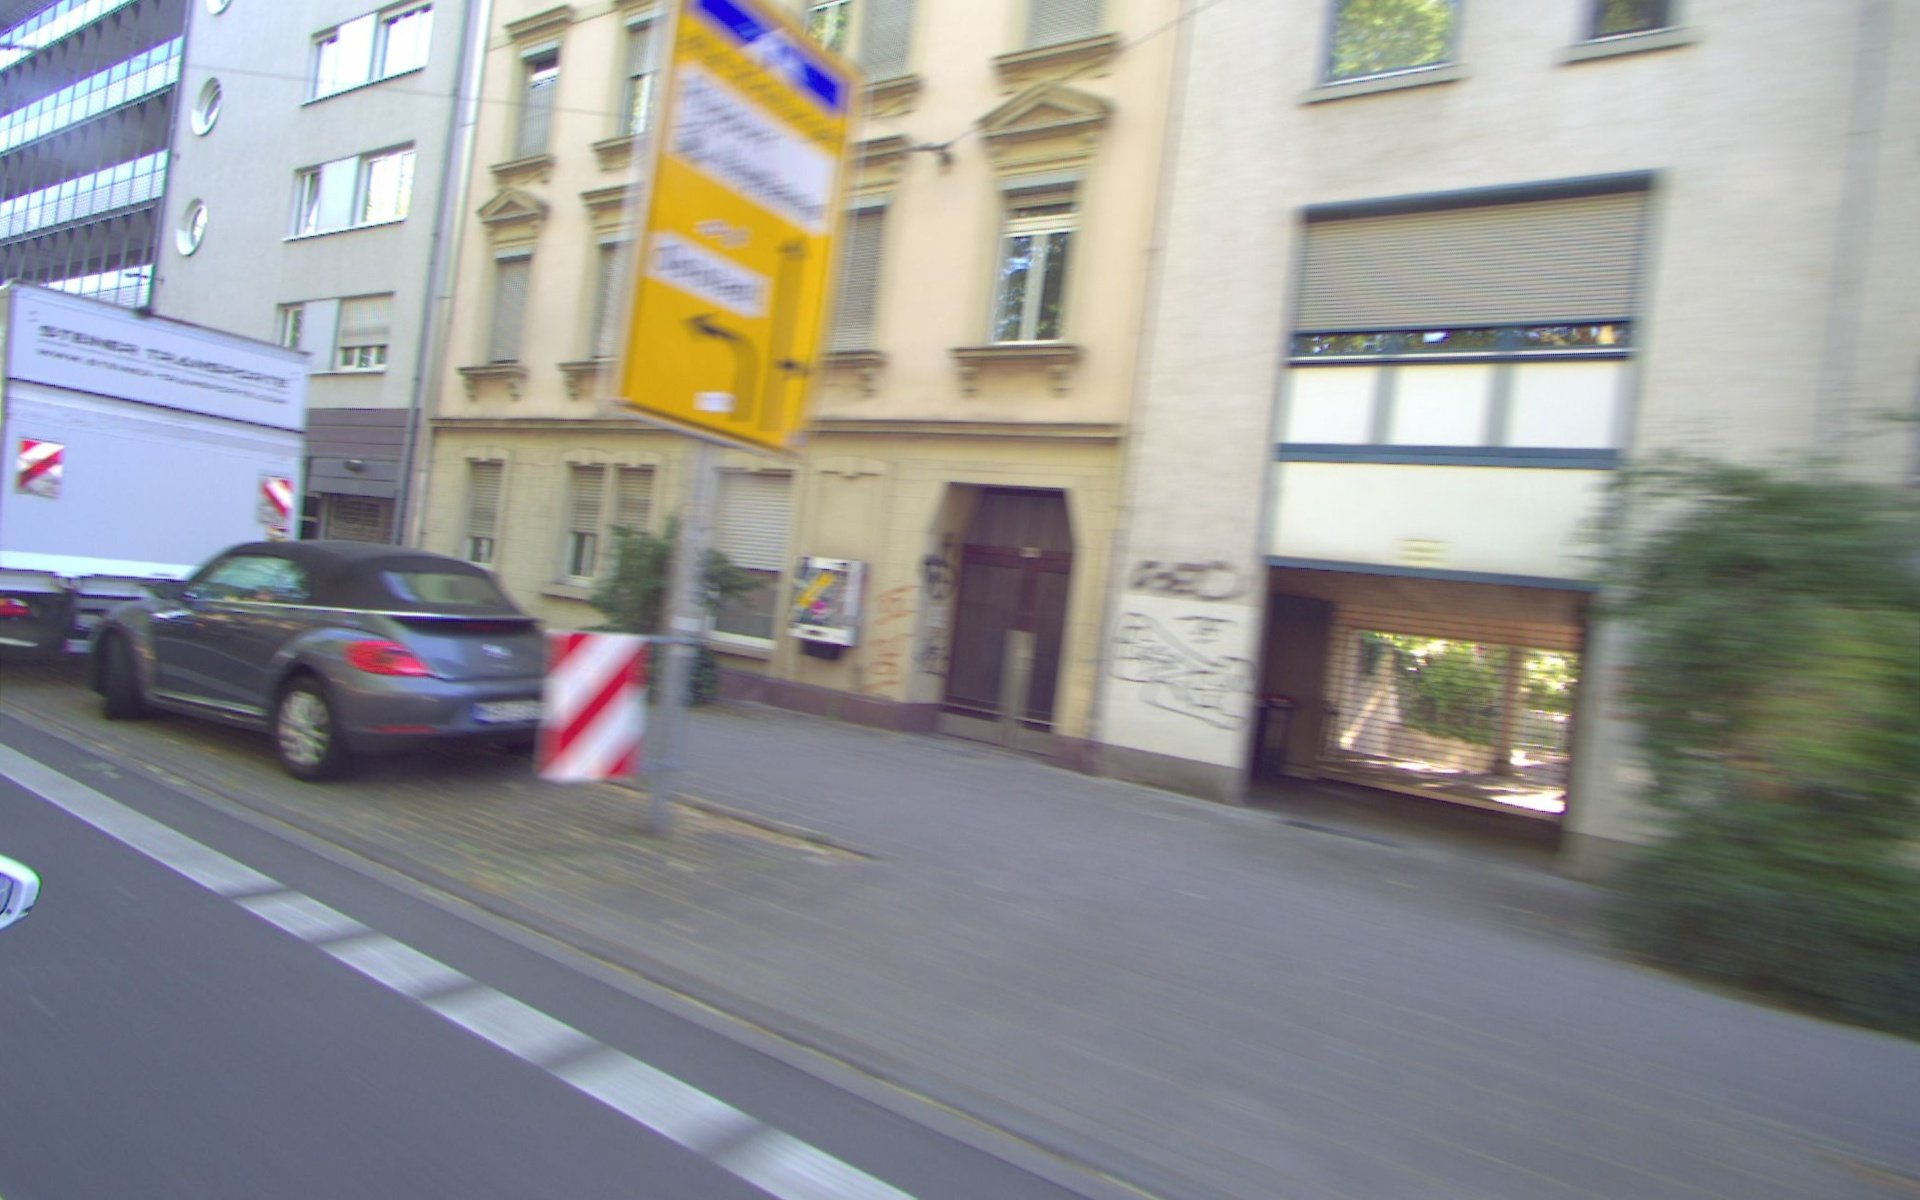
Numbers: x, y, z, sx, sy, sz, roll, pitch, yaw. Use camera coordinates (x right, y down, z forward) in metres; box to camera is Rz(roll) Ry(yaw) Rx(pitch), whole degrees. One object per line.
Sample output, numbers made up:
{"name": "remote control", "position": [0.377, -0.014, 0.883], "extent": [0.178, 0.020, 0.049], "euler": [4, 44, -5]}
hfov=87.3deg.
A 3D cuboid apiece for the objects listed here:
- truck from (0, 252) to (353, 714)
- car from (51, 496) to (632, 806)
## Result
{"name": "truck", "position": [-9.453, -1.108, 10.251], "extent": [7.077, 3.381, 2.539], "euler": [6, 2, 32]}
{"name": "car", "position": [-4.642, 0.235, 7.460], "extent": [4.079, 1.578, 1.733], "euler": [6, 1, 27]}
